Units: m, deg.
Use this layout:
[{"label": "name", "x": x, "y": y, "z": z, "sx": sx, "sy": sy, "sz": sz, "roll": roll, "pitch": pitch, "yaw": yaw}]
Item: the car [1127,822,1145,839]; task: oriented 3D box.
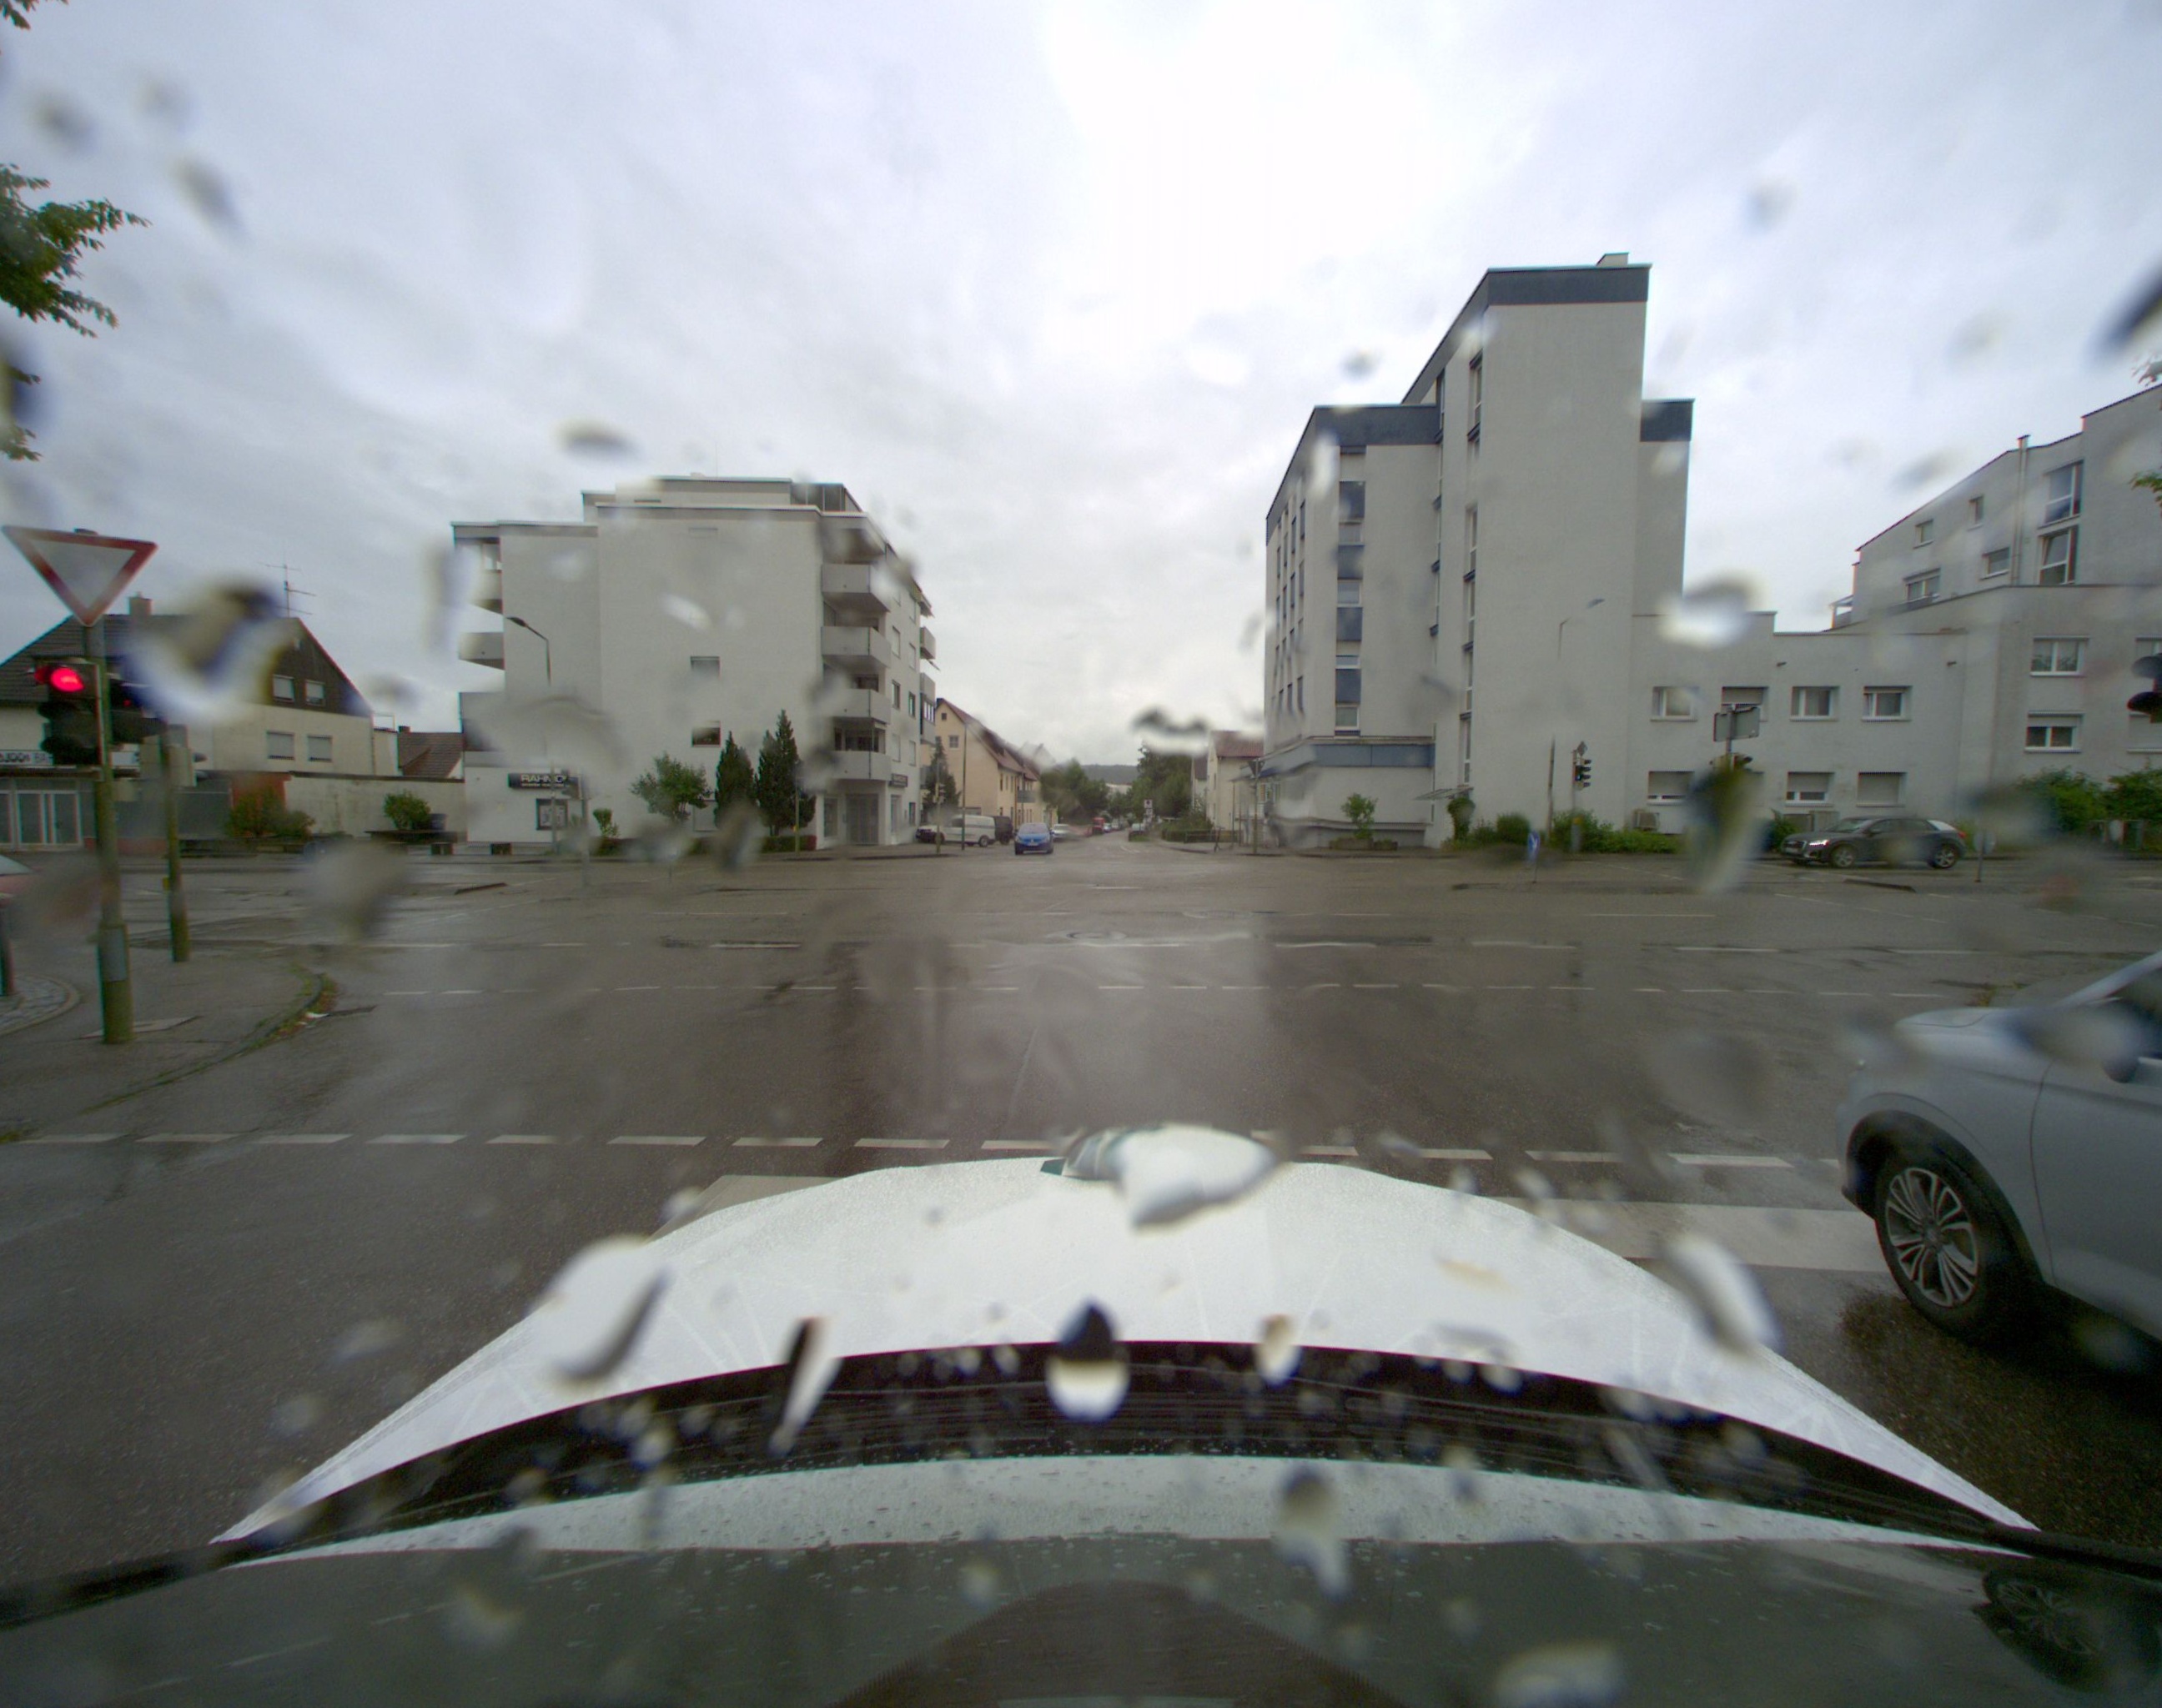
[{"label": "car", "x": 7.005, "y": -3.009, "z": 103.651, "sx": 1.983, "sy": 2.013, "sz": 4.009, "roll": -1, "pitch": 1, "yaw": 7}]

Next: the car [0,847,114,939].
[{"label": "car", "x": -21.331, "y": 0.706, "z": 15.325, "sx": 4.074, "sy": 1.505, "sz": 1.783, "roll": 0, "pitch": 6, "yaw": 2}]

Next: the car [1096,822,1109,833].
[{"label": "car", "x": 3.687, "y": -4.547, "z": 138.943, "sx": 1.983, "sy": 1.684, "sz": 4.008, "roll": 0, "pitch": -1, "yaw": 7}]

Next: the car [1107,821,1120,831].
[{"label": "car", "x": 6.269, "y": -5.304, "z": 154.840, "sx": 1.982, "sy": 1.706, "sz": 4.010, "roll": -1, "pitch": -1, "yaw": 9}]

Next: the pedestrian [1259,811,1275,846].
[{"label": "pedestrian", "x": 9.038, "y": -1.243, "z": 39.628, "sx": 0.652, "sy": 1.652, "sz": 0.646, "roll": 0, "pitch": -1, "yaw": 2}]

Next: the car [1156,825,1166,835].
[{"label": "car", "x": 16.816, "y": -4.933, "z": 170.335, "sx": 1.983, "sy": 2.013, "sz": 4.009, "roll": -1, "pitch": 1, "yaw": 7}]

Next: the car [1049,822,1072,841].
[{"label": "car", "x": -1.667, "y": -1.852, "z": 68.104, "sx": 1.761, "sy": 1.523, "sz": 4.001, "roll": -1, "pitch": 2, "yaw": 0}]

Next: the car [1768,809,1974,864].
[{"label": "car", "x": 23.254, "y": -0.529, "z": 24.131, "sx": 4.110, "sy": 1.485, "sz": 1.748, "roll": -1, "pitch": 4, "yaw": 10}]

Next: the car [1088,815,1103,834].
[{"label": "car", "x": 2.279, "y": -4.581, "z": 127.486, "sx": 2.208, "sy": 2.768, "sz": 5.728, "roll": -1, "pitch": 1, "yaw": 2}]

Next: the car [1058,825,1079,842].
[{"label": "car", "x": -1.181, "y": -2.019, "z": 79.579, "sx": 1.760, "sy": 1.518, "sz": 4.197, "roll": -1, "pitch": 2, "yaw": 2}]

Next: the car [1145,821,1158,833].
[{"label": "car", "x": 11.948, "y": -4.559, "z": 137.641, "sx": 1.983, "sy": 2.013, "sz": 4.009, "roll": -1, "pitch": 1, "yaw": 7}]

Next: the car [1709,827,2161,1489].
[{"label": "car", "x": 3.369, "y": 0.727, "z": 1.696, "sx": 1.678, "sy": 1.554, "sz": 3.919, "roll": -1, "pitch": 2, "yaw": 10}]

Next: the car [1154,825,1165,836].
[{"label": "car", "x": 15.618, "y": -4.649, "z": 161.845, "sx": 1.983, "sy": 2.013, "sz": 4.009, "roll": -1, "pitch": 1, "yaw": 7}]

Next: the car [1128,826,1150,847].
[{"label": "car", "x": 5.852, "y": -1.735, "z": 81.348, "sx": 1.983, "sy": 2.014, "sz": 4.008, "roll": 0, "pitch": -1, "yaw": 7}]

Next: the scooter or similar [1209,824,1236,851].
[{"label": "scooter or similar", "x": 6.701, "y": -0.779, "z": 38.556, "sx": 1.058, "sy": 1.227, "sz": 0.799, "roll": 0, "pitch": -1, "yaw": -8}]

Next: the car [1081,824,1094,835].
[{"label": "car", "x": 0.877, "y": -3.418, "z": 112.733, "sx": 1.762, "sy": 1.518, "sz": 3.999, "roll": -1, "pitch": 2, "yaw": -1}]

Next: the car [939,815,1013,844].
[{"label": "car", "x": -7.070, "y": -1.660, "z": 54.996, "sx": 4.644, "sy": 1.888, "sz": 1.941, "roll": -2, "pitch": 2, "yaw": -37}]

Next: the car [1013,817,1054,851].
[{"label": "car", "x": -2.225, "y": -0.917, "z": 39.012, "sx": 1.762, "sy": 1.445, "sz": 3.998, "roll": 0, "pitch": -1, "yaw": -1}]

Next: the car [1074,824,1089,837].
[{"label": "car", "x": 0.034, "y": -3.001, "z": 104.569, "sx": 1.762, "sy": 1.518, "sz": 3.999, "roll": -1, "pitch": 2, "yaw": -1}]

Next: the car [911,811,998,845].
[{"label": "car", "x": -7.415, "y": -1.475, "z": 47.956, "sx": 4.751, "sy": 1.778, "sz": 1.753, "roll": 2, "pitch": -1, "yaw": -37}]
